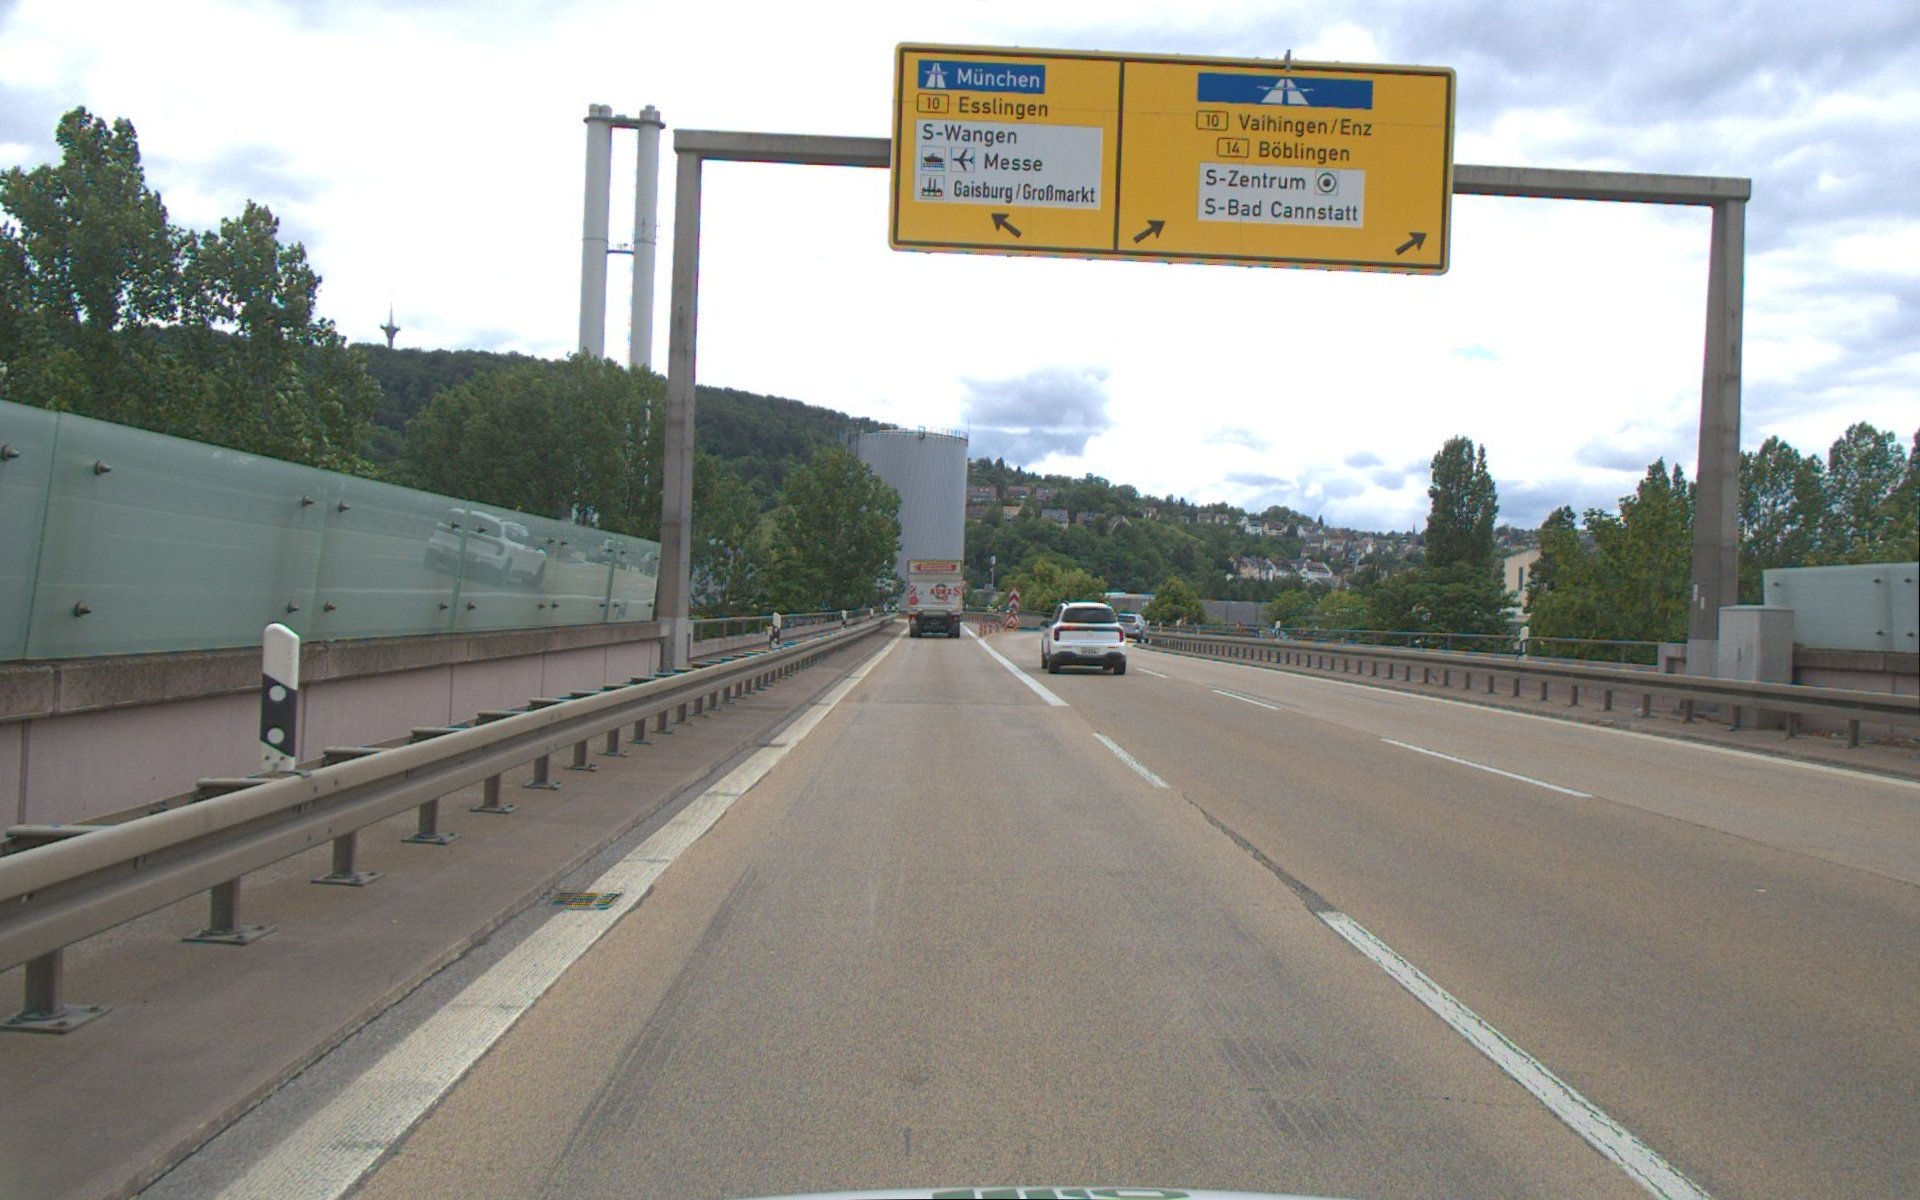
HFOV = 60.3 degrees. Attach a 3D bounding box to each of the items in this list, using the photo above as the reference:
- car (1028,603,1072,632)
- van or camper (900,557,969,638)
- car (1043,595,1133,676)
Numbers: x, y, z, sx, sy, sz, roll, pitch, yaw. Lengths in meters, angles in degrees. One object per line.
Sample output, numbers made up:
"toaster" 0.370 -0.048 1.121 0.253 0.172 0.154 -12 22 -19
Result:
"car" 5.780 1.103 105.795 1.883 1.817 4.115 1 0 16
"van or camper" -1.163 -0.098 78.827 3.058 3.642 8.549 1 0 0
"car" 3.052 0.811 40.188 1.884 1.817 4.113 1 0 0
